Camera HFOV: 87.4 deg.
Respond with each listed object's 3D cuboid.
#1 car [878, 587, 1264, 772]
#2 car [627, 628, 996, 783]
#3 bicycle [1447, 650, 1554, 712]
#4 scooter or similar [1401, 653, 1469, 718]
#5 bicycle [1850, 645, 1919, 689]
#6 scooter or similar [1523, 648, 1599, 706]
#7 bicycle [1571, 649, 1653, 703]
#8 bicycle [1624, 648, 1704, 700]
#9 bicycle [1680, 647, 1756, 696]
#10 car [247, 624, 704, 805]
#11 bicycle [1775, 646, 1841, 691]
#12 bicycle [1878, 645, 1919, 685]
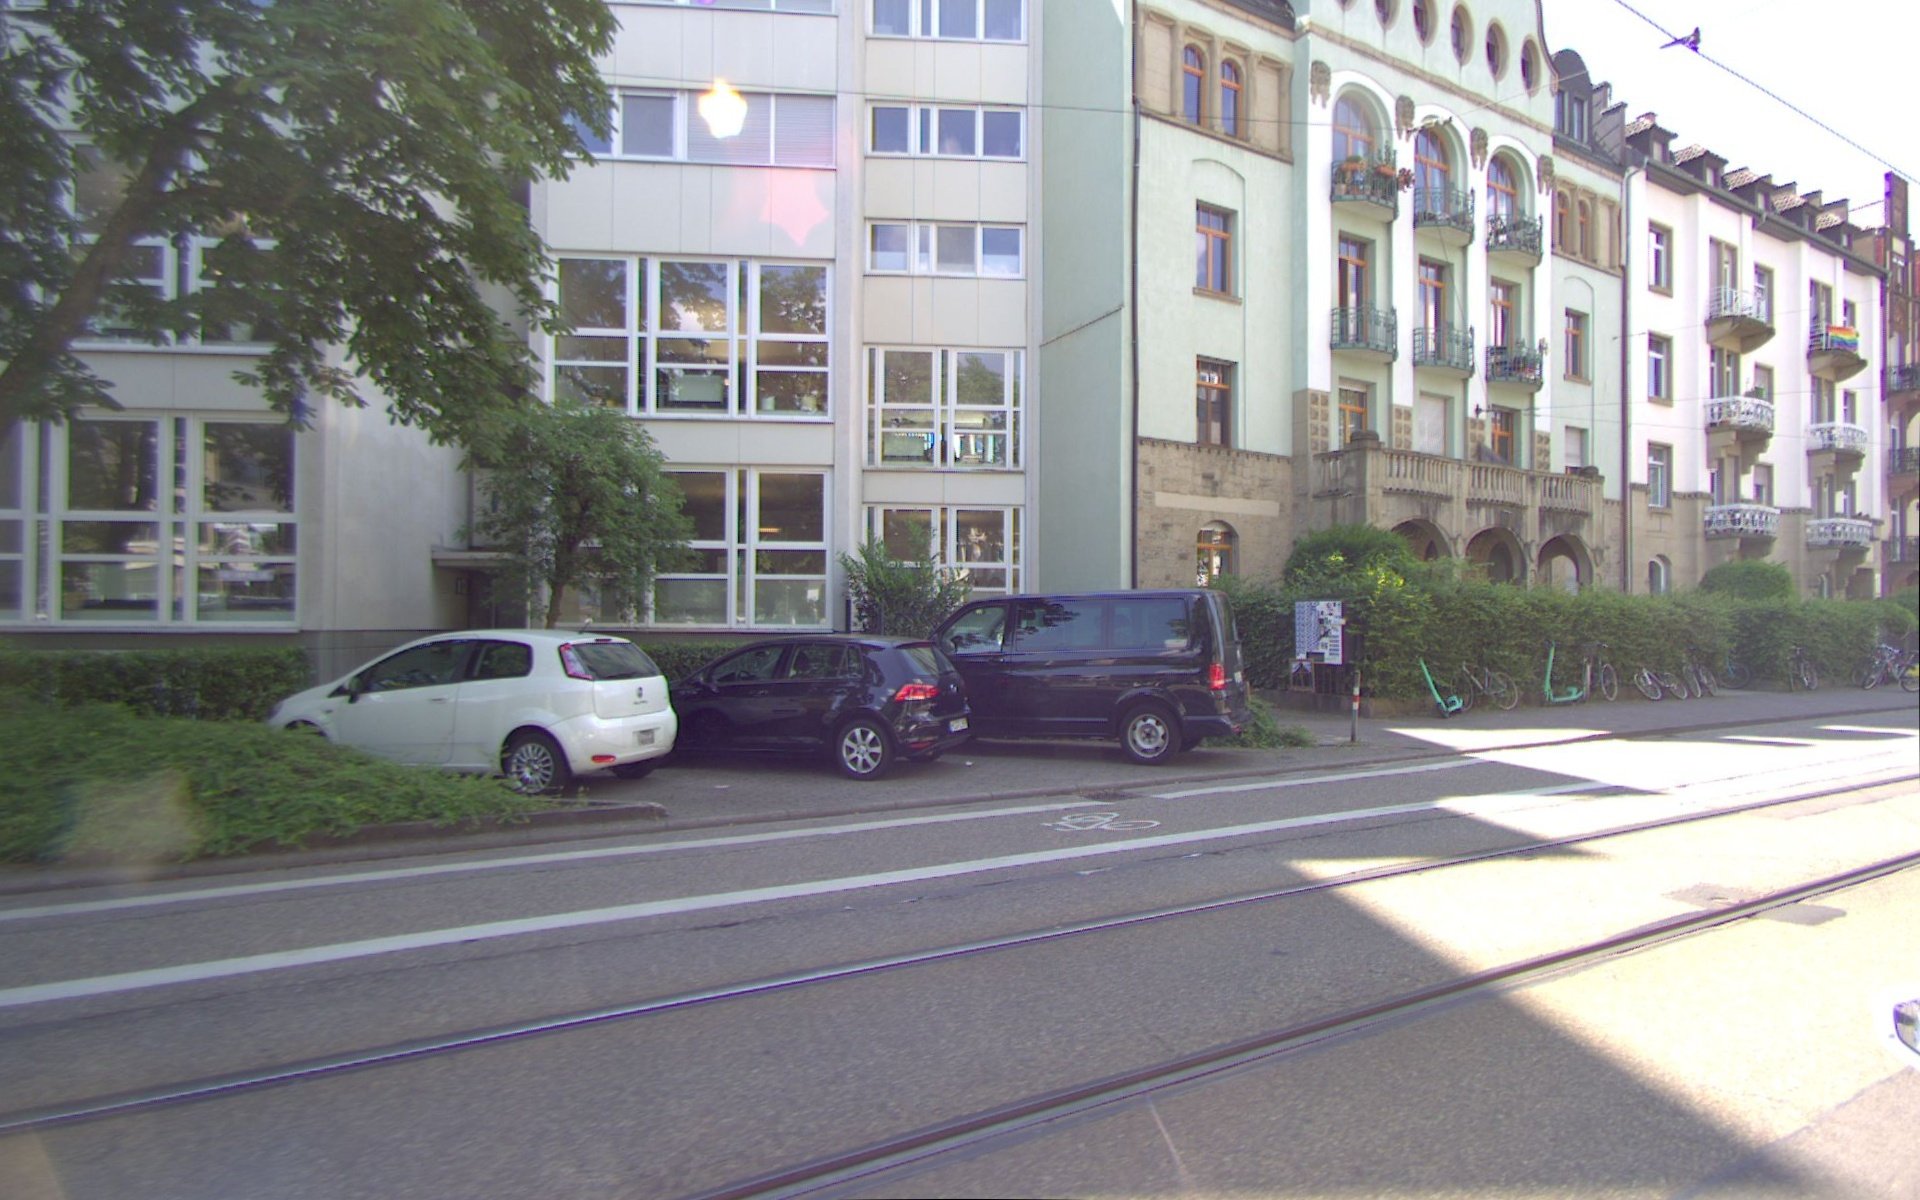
[{"bbox_3d":[1.354,0.886,12.302,4.400,1.966,1.704,0,-2,22],"label":"car"},{"bbox_3d":[-1.632,1.079,11.225,3.737,1.475,1.634,0,-2,20],"label":"car"},{"bbox_3d":[9.411,1.384,17.447,2.222,0.982,0.540,1,0,-30],"label":"bicycle"},{"bbox_3d":[7.746,1.381,16.380,0.946,0.982,0.540,1,0,-30],"label":"scooter or similar"},{"bbox_3d":[22.658,1.625,24.298,1.746,0.982,0.545,2,-1,0],"label":"bicycle"},{"bbox_3d":[11.018,1.401,18.409,1.481,0.982,0.540,1,0,-30],"label":"scooter or similar"},{"bbox_3d":[12.493,1.457,19.225,1.801,0.982,0.540,3,-1,-30],"label":"bicycle"},{"bbox_3d":[14.171,1.484,20.202,1.966,0.982,0.540,2,0,-30],"label":"bicycle"},{"bbox_3d":[16.027,1.509,21.235,1.966,0.982,0.540,3,-1,-30],"label":"bicycle"},{"bbox_3d":[-4.600,1.006,9.712,3.735,1.475,1.706,0,-2,15],"label":"car"},{"bbox_3d":[19.911,1.593,23.580,1.966,0.982,0.540,0,0,-30],"label":"bicycle"},{"bbox_3d":[24.864,1.699,26.430,1.760,0.982,0.540,1,0,-30],"label":"bicycle"}]
